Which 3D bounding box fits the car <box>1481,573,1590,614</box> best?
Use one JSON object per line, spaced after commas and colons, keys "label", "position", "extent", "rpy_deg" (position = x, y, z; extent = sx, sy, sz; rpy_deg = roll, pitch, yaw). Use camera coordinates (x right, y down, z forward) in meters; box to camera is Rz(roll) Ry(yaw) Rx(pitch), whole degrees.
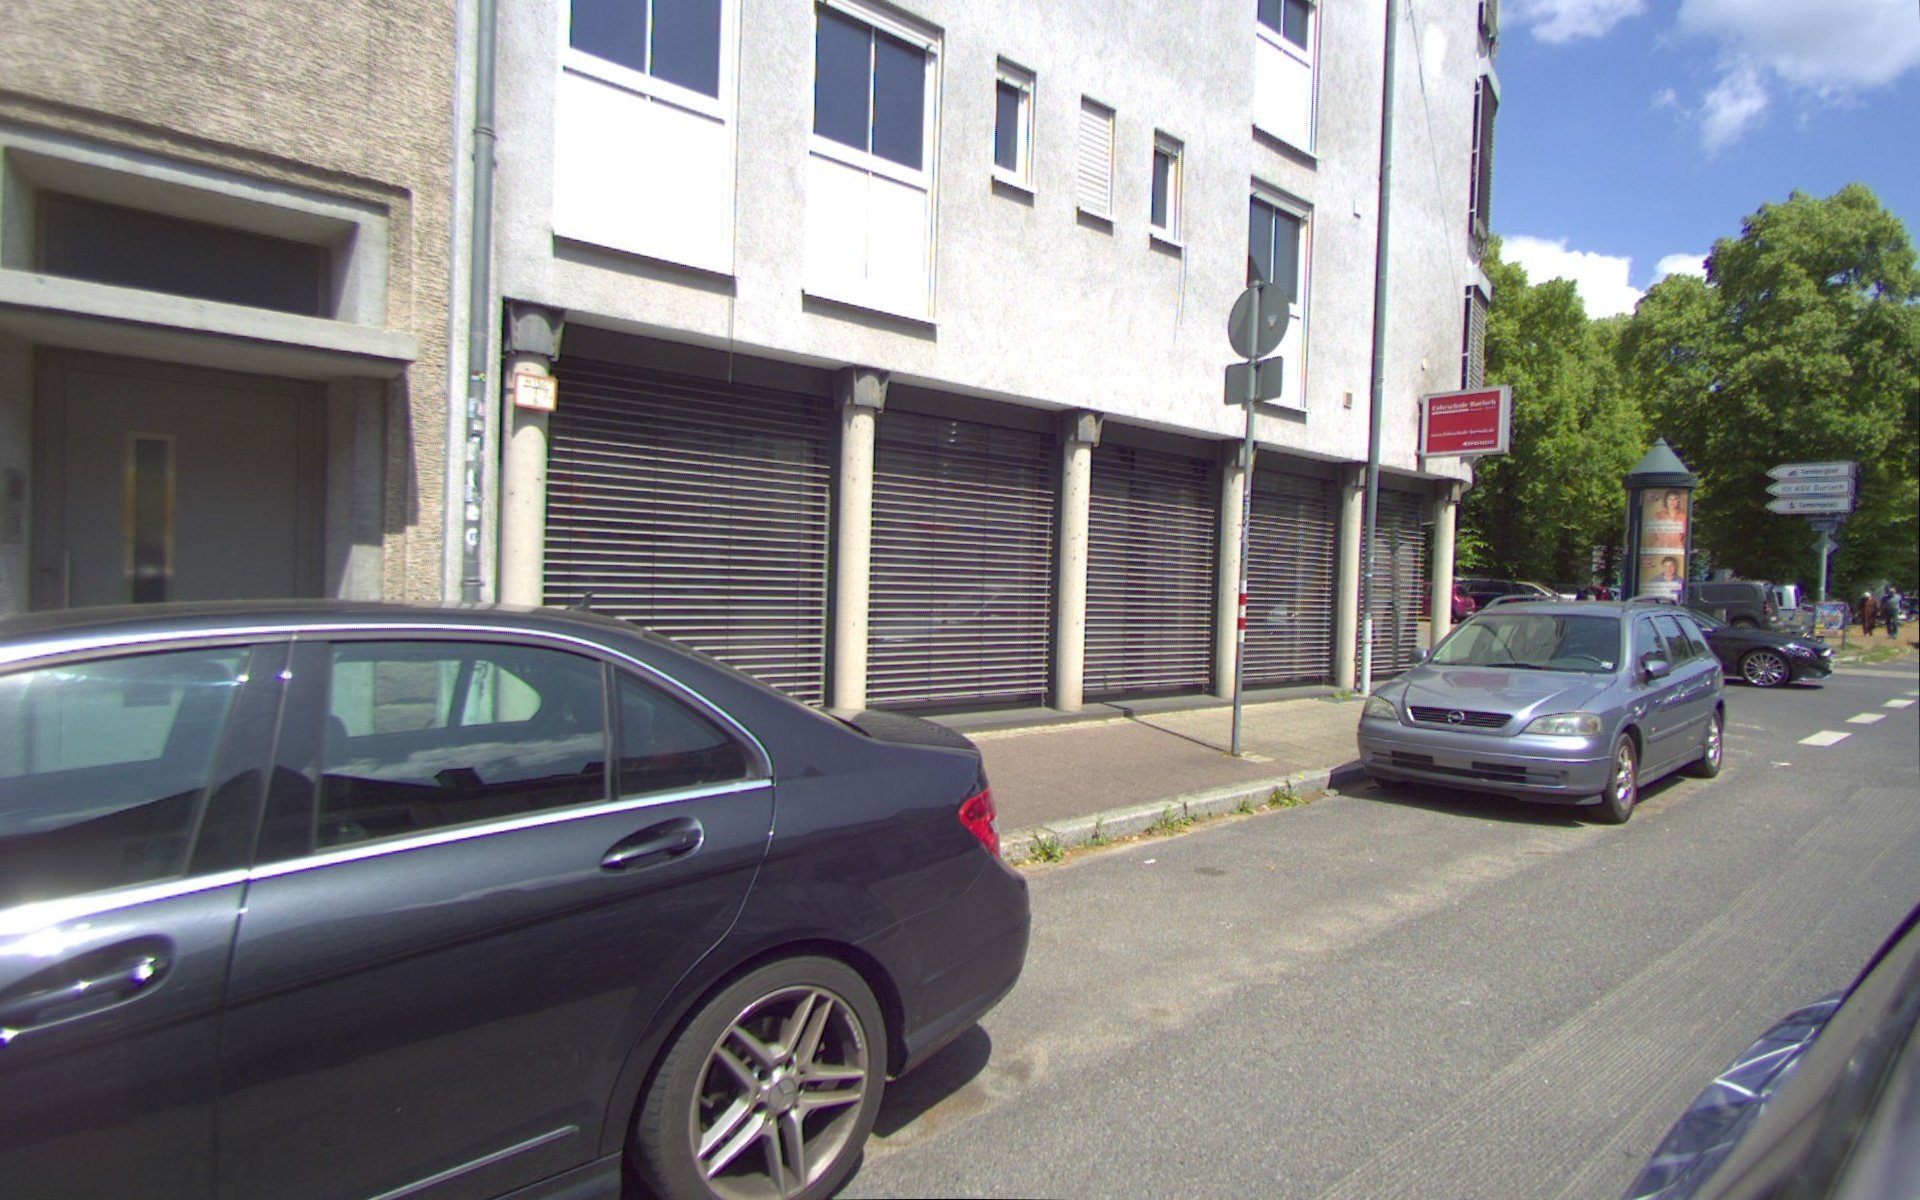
{"label": "car", "position": [26.377, -0.330, 46.491], "extent": [1.652, 1.660, 3.994], "rpy_deg": [-1, 3, -42]}

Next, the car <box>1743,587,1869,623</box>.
{"label": "car", "position": [36.911, 0.200, 44.226], "extent": [1.686, 1.491, 3.996], "rpy_deg": [0, 1, -39]}

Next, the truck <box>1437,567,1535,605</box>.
{"label": "truck", "position": [27.663, -0.779, 53.339], "extent": [1.844, 1.836, 4.133], "rpy_deg": [0, 2, -38]}

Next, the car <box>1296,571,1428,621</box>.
{"label": "car", "position": [14.167, -0.183, 35.796], "extent": [1.652, 1.573, 3.994], "rpy_deg": [-1, 3, -42]}

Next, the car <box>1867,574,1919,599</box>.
{"label": "car", "position": [63.159, -0.870, 67.534], "extent": [1.823, 1.546, 3.756], "rpy_deg": [0, 3, -44]}

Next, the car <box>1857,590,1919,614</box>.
{"label": "car", "position": [54.861, 0.105, 58.995], "extent": [3.833, 1.375, 1.606], "rpy_deg": [2, 1, 41]}

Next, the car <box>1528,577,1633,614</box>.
{"label": "car", "position": [30.452, -0.242, 49.778], "extent": [1.772, 1.605, 3.998], "rpy_deg": [0, 3, -39]}

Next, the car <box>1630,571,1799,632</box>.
{"label": "car", "position": [23.843, -0.007, 32.076], "extent": [1.982, 1.772, 3.994], "rpy_deg": [0, 2, -41]}

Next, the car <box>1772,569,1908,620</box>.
{"label": "car", "position": [41.658, -0.259, 47.998], "extent": [2.069, 2.305, 4.611], "rpy_deg": [0, 0, -40]}

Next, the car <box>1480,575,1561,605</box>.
{"label": "car", "position": [33.255, -0.602, 60.084], "extent": [1.706, 1.607, 3.809], "rpy_deg": [0, 3, -38]}

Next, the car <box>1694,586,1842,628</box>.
{"label": "car", "position": [29.489, 0.203, 37.005], "extent": [1.777, 1.415, 3.993], "rpy_deg": [0, 1, -42]}

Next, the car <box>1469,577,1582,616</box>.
{"label": "car", "position": [24.752, -0.200, 44.403], "extent": [1.652, 1.501, 3.994], "rpy_deg": [-1, 3, -42]}

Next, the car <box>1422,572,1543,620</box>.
{"label": "car", "position": [21.133, -0.204, 41.041], "extent": [1.673, 1.699, 3.992], "rpy_deg": [-1, 3, -43]}

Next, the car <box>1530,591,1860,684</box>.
{"label": "car", "position": [13.273, 0.585, 18.512], "extent": [1.966, 1.382, 4.588], "rpy_deg": [0, 1, -42]}

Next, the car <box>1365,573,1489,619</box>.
{"label": "car", "position": [18.003, -0.183, 39.117], "extent": [1.652, 1.547, 3.994], "rpy_deg": [-1, 3, -42]}

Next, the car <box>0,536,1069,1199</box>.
{"label": "car", "position": [-1.925, 0.622, 2.059], "extent": [4.359, 1.491, 1.715], "rpy_deg": [0, 2, -40]}

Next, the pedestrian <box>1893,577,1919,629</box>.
{"label": "pedestrian", "position": [32.902, 0.081, 35.178], "extent": [0.724, 1.786, 0.618], "rpy_deg": [0, 1, -41]}

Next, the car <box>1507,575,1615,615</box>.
{"label": "car", "position": [28.429, -0.277, 47.981], "extent": [1.772, 1.682, 3.998], "rpy_deg": [0, 3, -39]}

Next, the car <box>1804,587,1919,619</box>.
{"label": "car", "position": [44.686, 0.129, 50.067], "extent": [1.778, 1.512, 4.331], "rpy_deg": [0, 0, -42]}

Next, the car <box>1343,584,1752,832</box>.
{"label": "car", "position": [4.799, 0.626, 8.005], "extent": [4.072, 1.473, 1.679], "rpy_deg": [0, 0, -43]}

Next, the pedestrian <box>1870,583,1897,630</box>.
{"label": "pedestrian", "position": [32.516, 0.211, 35.631], "extent": [0.724, 1.613, 0.618], "rpy_deg": [0, 1, -41]}

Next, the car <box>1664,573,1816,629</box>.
{"label": "car", "position": [25.785, -0.008, 33.523], "extent": [1.637, 1.688, 3.766], "rpy_deg": [0, 2, -45]}
